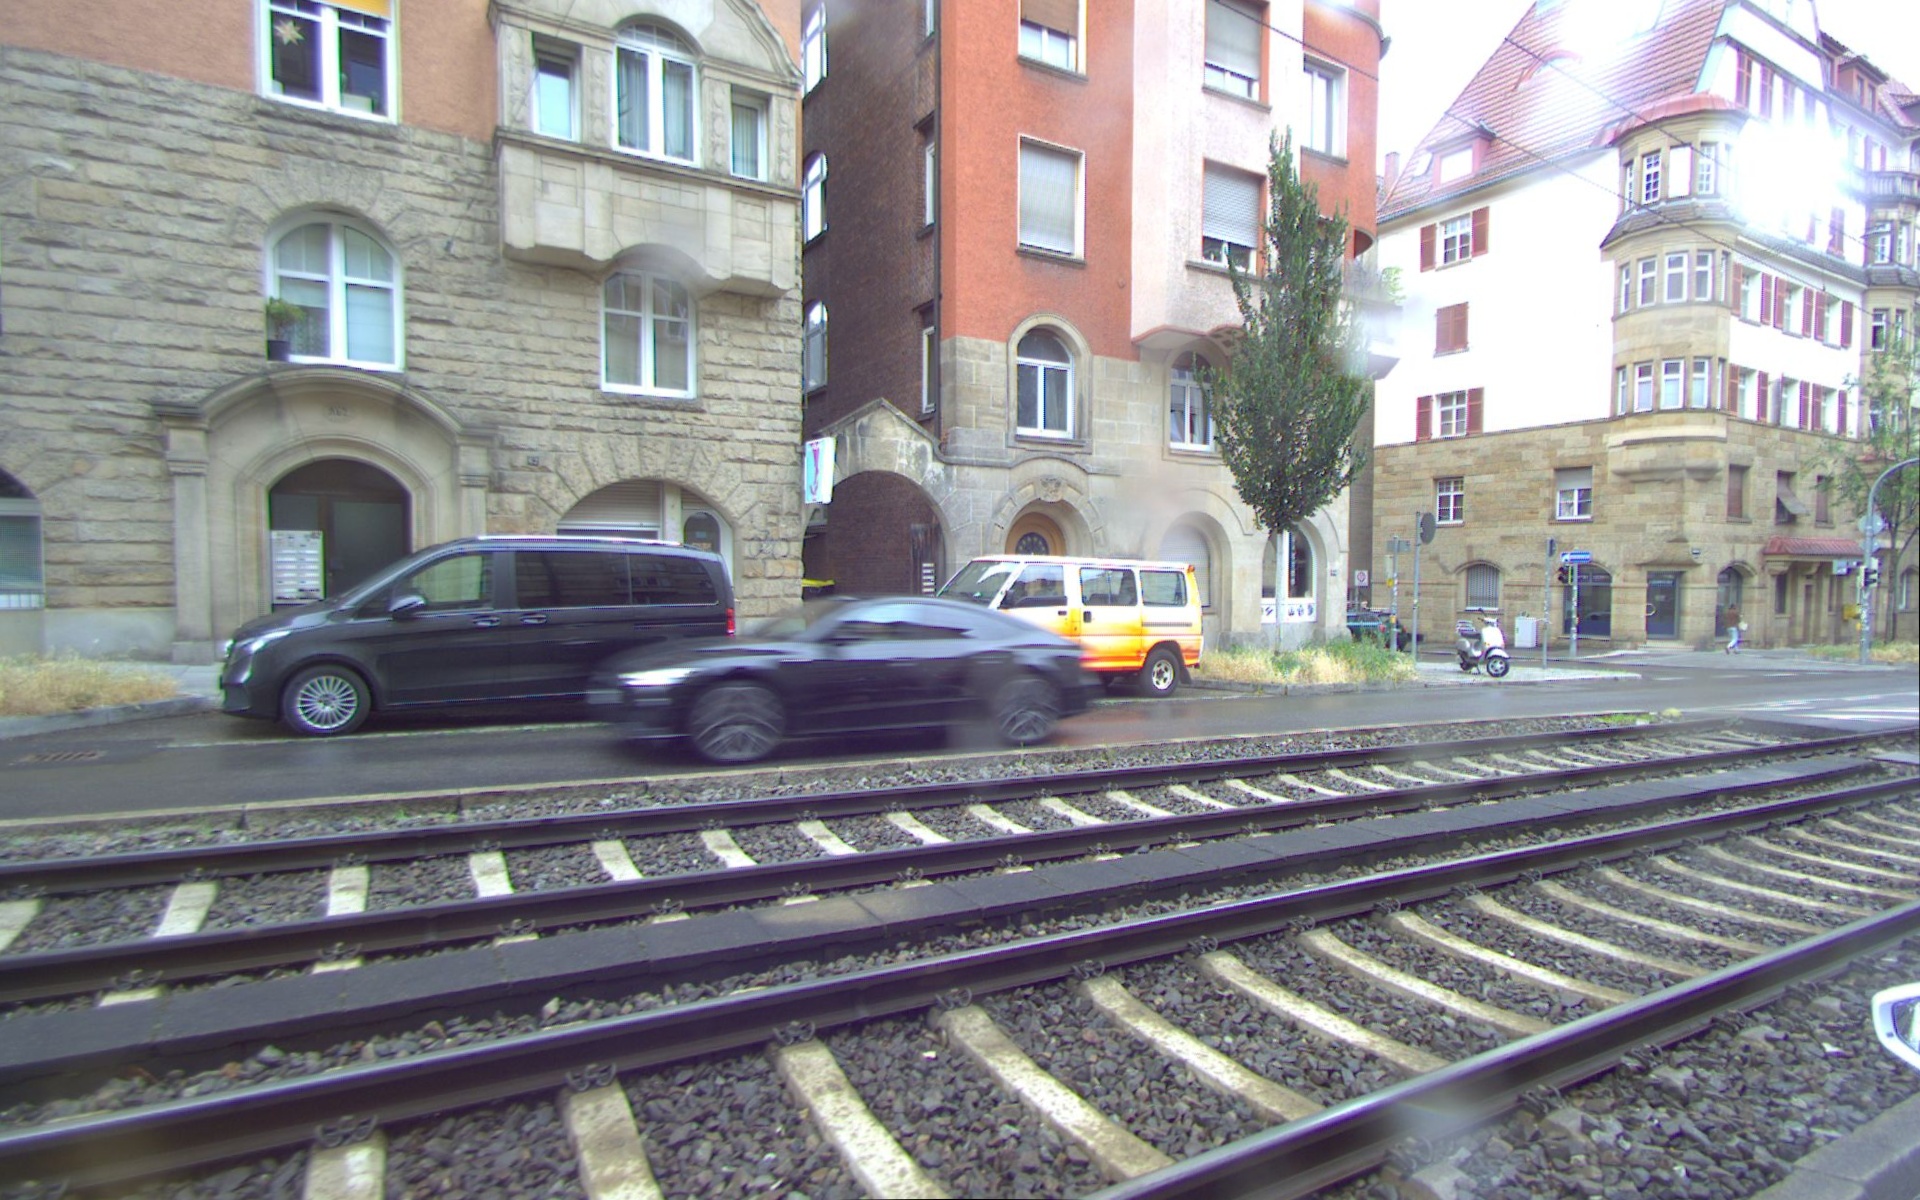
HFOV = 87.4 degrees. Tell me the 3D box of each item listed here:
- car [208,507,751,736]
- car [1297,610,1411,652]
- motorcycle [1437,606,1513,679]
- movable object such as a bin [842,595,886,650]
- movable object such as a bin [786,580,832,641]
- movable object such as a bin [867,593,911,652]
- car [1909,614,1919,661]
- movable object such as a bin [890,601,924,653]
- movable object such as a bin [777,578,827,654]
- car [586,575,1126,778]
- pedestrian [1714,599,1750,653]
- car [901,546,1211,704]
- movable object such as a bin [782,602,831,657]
[{"bbox_3d":[-4.867,0.244,10.710,4.769,1.968,1.984,2,0,-30],"label":"car"},{"bbox_3d":[14.643,1.144,37.461,1.683,1.423,3.618,2,0,-34],"label":"car"},{"bbox_3d":[10.289,0.824,20.117,0.612,1.384,1.596,2,0,-3],"label":"motorcycle"},{"bbox_3d":[-1.901,0.437,19.801,0.607,1.052,0.793,1,-1,-27],"label":"movable object such as a bin"},{"bbox_3d":[-3.428,0.228,22.772,0.676,1.324,1.154,1,1,-26],"label":"movable object such as a bin"},{"bbox_3d":[-1.363,0.432,19.255,0.607,1.090,0.679,1,-1,-27],"label":"movable object such as a bin"},{"bbox_3d":[34.350,1.323,34.472,3.994,1.573,1.741,2,0,-34],"label":"car"},{"bbox_3d":[-0.990,0.507,18.747,0.442,0.957,0.557,1,-1,-27],"label":"movable object such as a bin"},{"bbox_3d":[-2.923,0.293,18.579,0.648,1.360,0.903,1,1,-27],"label":"movable object such as a bin"},{"bbox_3d":[-0.864,0.617,9.722,4.909,1.544,1.793,1,0,-32],"label":"car"},{"bbox_3d":[24.716,0.830,32.163,0.692,1.695,0.630,2,0,-20],"label":"pedestrian"},{"bbox_3d":[1.459,0.370,14.555,4.295,2.001,1.721,2,0,-32],"label":"car"},{"bbox_3d":[-2.708,0.515,17.706,0.627,0.918,0.793,1,1,-27],"label":"movable object such as a bin"}]
